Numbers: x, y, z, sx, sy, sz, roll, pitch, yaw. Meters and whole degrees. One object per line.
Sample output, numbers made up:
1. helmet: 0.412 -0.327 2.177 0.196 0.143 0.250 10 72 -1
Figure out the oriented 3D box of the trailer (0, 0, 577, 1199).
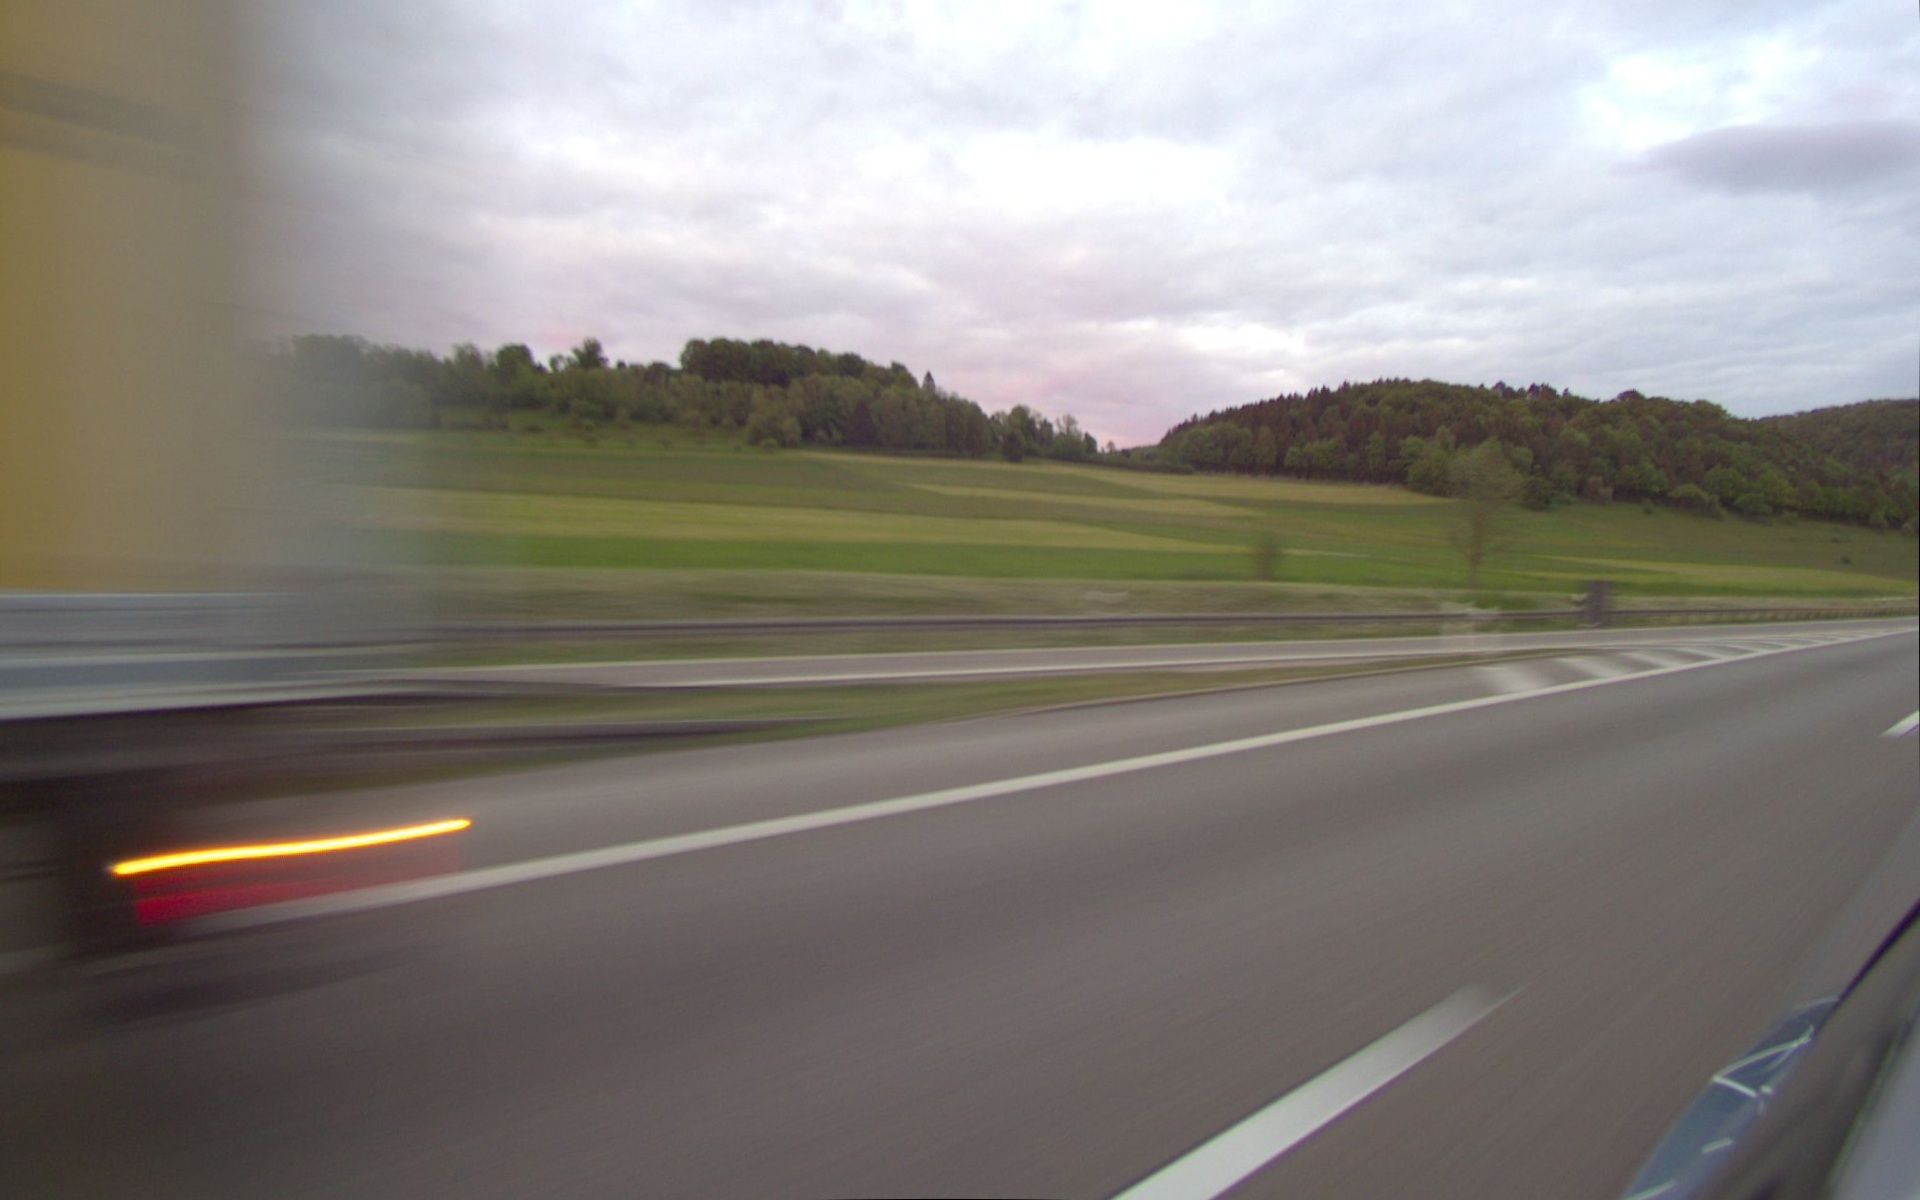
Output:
1. trailer: -5.077 -0.564 0.612 8.723 3.875 2.621 0 1 -41
